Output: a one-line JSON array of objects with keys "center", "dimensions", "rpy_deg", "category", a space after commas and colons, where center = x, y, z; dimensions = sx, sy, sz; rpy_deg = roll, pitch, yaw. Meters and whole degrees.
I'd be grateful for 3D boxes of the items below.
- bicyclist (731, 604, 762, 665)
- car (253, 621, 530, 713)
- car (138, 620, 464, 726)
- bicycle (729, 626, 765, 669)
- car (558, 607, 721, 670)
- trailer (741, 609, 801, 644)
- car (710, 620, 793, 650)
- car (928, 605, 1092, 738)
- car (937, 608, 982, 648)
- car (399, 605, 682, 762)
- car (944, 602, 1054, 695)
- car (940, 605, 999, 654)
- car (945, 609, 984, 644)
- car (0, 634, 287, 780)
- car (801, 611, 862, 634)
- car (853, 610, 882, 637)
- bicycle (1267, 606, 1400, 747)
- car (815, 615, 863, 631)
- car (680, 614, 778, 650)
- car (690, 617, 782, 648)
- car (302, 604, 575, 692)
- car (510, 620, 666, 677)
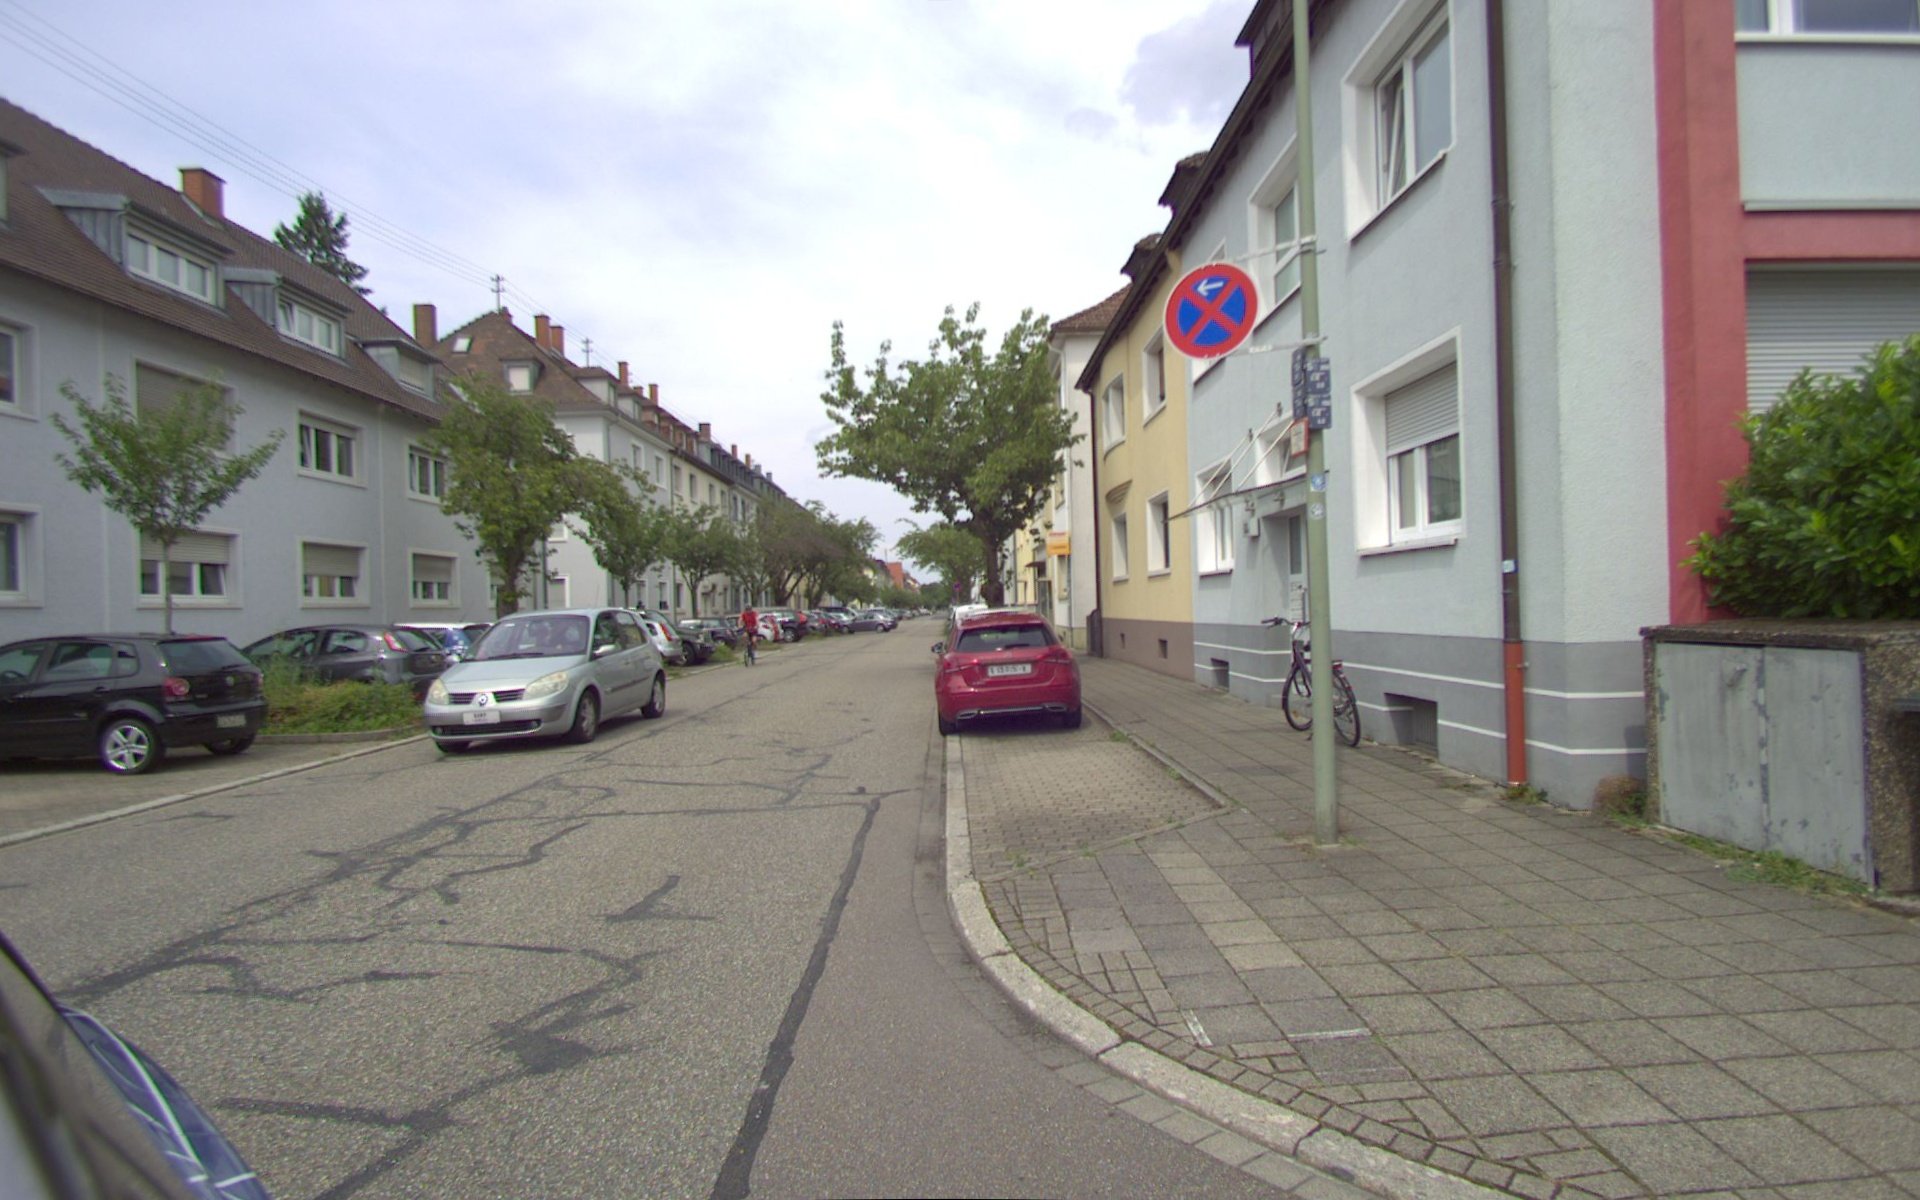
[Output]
[{"center": [-6.511, 1.043, 30.890], "dimensions": [0.684, 1.783, 0.986], "rpy_deg": [-2, -1, -1], "category": "bicyclist"}, {"center": [-9.944, 1.149, 17.906], "dimensions": [3.944, 1.519, 1.712], "rpy_deg": [0, -1, 0], "category": "car"}, {"center": [-10.084, 1.086, 15.694], "dimensions": [3.944, 1.519, 1.712], "rpy_deg": [0, -1, 0], "category": "car"}, {"center": [-6.497, 1.432, 30.905], "dimensions": [0.684, 1.237, 1.937], "rpy_deg": [-2, -1, -1], "category": "bicycle"}, {"center": [-9.830, 1.164, 31.250], "dimensions": [4.479, 1.872, 1.791], "rpy_deg": [0, -1, 2], "category": "car"}, {"center": [-10.136, 1.405, 54.304], "dimensions": [2.931, 1.845, 1.399], "rpy_deg": [0, -1, 3], "category": "trailer"}, {"center": [-10.272, 1.715, 50.033], "dimensions": [3.708, 1.452, 1.864], "rpy_deg": [0, -1, 1], "category": "car"}, {"center": [0.527, 0.837, 13.731], "dimensions": [1.856, 1.497, 4.513], "rpy_deg": [0, -1, -1], "category": "car"}, {"center": [-0.051, 1.141, 43.039], "dimensions": [1.771, 1.503, 4.812], "rpy_deg": [-2, 0, -1], "category": "car"}, {"center": [-5.122, 0.917, 13.180], "dimensions": [1.764, 1.616, 4.837], "rpy_deg": [-2, -1, -1], "category": "car"}, {"center": [0.666, 0.862, 19.664], "dimensions": [1.753, 1.402, 4.274], "rpy_deg": [-7, -1, 0], "category": "car"}, {"center": [0.294, 0.990, 34.994], "dimensions": [1.897, 1.593, 4.382], "rpy_deg": [0, -1, 0], "category": "car"}, {"center": [0.186, 1.264, 49.692], "dimensions": [1.738, 1.568, 4.256], "rpy_deg": [-1, -1, -1], "category": "car"}, {"center": [-9.911, 1.108, 11.099], "dimensions": [3.944, 1.432, 1.712], "rpy_deg": [0, -1, 0], "category": "car"}, {"center": [-11.174, 1.944, 88.384], "dimensions": [5.167, 2.038, 2.075], "rpy_deg": [0, -1, -4], "category": "car"}, {"center": [-7.349, 1.857, 80.522], "dimensions": [1.971, 1.929, 4.707], "rpy_deg": [-3, 0, -3], "category": "car"}, {"center": [3.378, 0.644, 9.321], "dimensions": [0.485, 1.161, 1.873], "rpy_deg": [0, -1, -1], "category": "bicycle"}, {"center": [-11.544, 2.209, 96.940], "dimensions": [4.495, 1.521, 1.851], "rpy_deg": [0, -1, -2], "category": "car"}, {"center": [-10.113, 1.384, 44.490], "dimensions": [3.941, 1.541, 1.769], "rpy_deg": [0, -1, -3], "category": "car"}, {"center": [-10.437, 1.493, 47.353], "dimensions": [3.941, 1.421, 1.769], "rpy_deg": [0, -1, -3], "category": "car"}, {"center": [-10.403, 0.934, 20.438], "dimensions": [4.565, 1.676, 1.892], "rpy_deg": [0, -1, 1], "category": "car"}, {"center": [-9.900, 1.279, 27.165], "dimensions": [3.582, 1.465, 1.775], "rpy_deg": [0, -1, -4], "category": "car"}]
